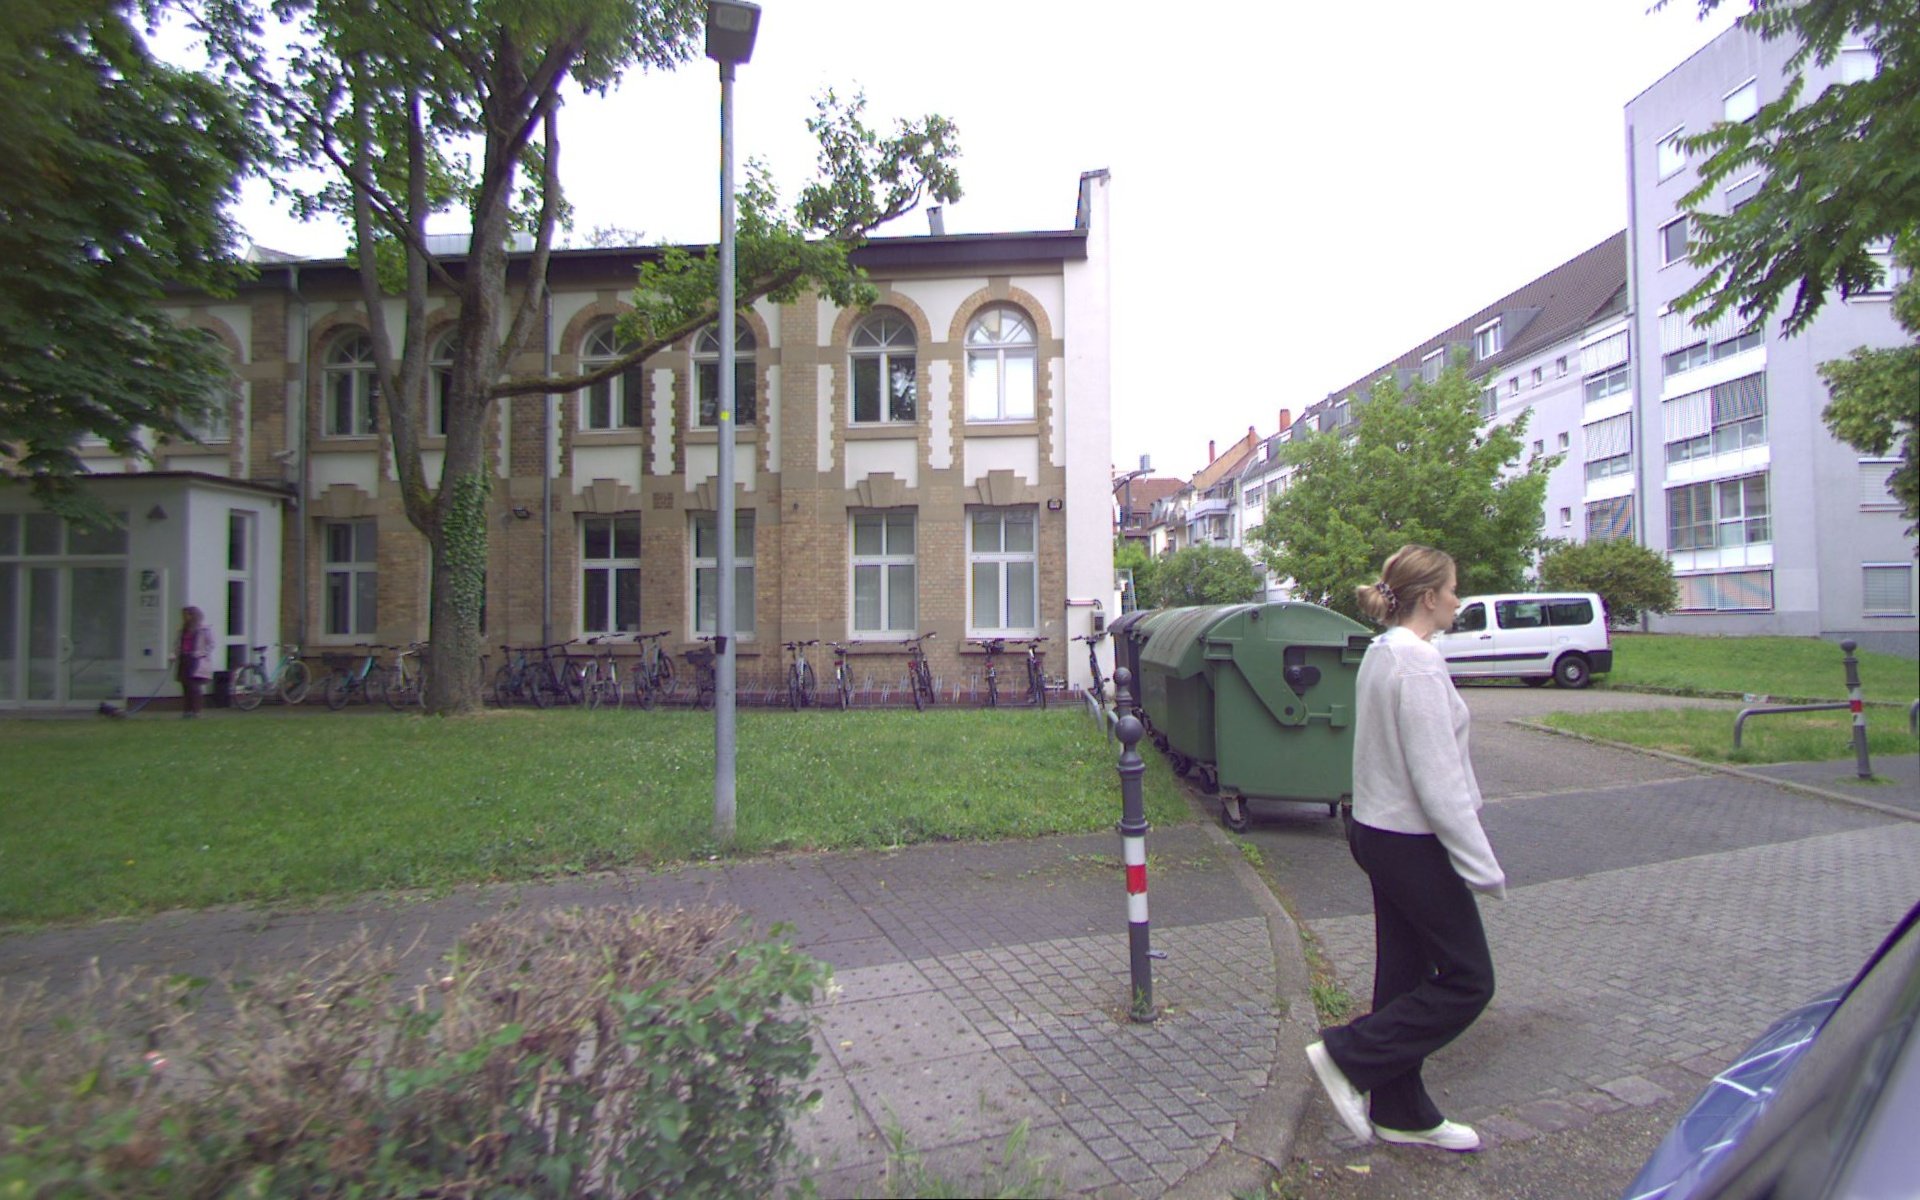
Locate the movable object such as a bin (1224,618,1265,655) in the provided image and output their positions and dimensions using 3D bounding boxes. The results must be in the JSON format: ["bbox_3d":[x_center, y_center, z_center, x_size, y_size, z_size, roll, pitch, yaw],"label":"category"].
[{"bbox_3d":[10.366,1.329,36.963,1.159,1.324,1.226,-1,-2,3],"label":"movable object such as a bin"}]

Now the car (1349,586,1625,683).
[{"bbox_3d":[10.936,0.756,21.322,4.690,1.898,1.897,-1,-4,6],"label":"car"}]

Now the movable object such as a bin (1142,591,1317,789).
[{"bbox_3d":[2.135,0.688,8.247,1.088,1.469,1.285,-1,-2,3],"label":"movable object such as a bin"}]

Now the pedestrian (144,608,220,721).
[{"bbox_3d":[-11.349,0.923,14.776,0.616,1.607,0.603,-1,-2,4],"label":"pedestrian"}]

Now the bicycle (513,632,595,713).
[{"bbox_3d":[-6.501,1.129,16.285,0.453,1.128,1.742,-1,1,6],"label":"bicycle"}]

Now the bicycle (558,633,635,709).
[{"bbox_3d":[-5.821,1.111,16.299,0.453,1.129,1.741,-1,-1,6],"label":"bicycle"}]

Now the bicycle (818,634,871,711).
[{"bbox_3d":[-1.808,1.117,16.038,0.453,1.129,1.741,-1,-1,6],"label":"bicycle"}]

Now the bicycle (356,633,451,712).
[{"bbox_3d":[-9.103,1.162,16.630,0.453,1.128,1.742,-1,1,6],"label":"bicycle"}]

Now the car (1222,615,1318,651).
[{"bbox_3d":[15.833,1.686,51.844,4.257,1.757,2.000,-1,-1,-1],"label":"car"}]

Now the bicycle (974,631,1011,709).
[{"bbox_3d":[0.530,1.077,16.008,0.453,1.129,1.741,-1,-1,6],"label":"bicycle"}]

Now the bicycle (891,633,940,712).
[{"bbox_3d":[-0.674,1.106,15.889,0.453,1.129,1.740,-1,-1,8],"label":"bicycle"}]

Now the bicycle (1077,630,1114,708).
[{"bbox_3d":[2.113,1.046,15.856,0.452,1.129,1.742,-1,-1,4],"label":"bicycle"}]

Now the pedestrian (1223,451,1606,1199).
[{"bbox_3d":[1.230,0.573,2.761,0.749,1.804,0.652,-2,-2,44],"label":"pedestrian"}]

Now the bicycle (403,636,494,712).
[{"bbox_3d":[-8.315,1.176,16.513,0.453,1.129,1.741,-1,-1,6],"label":"bicycle"}]

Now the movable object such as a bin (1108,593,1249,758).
[{"bbox_3d":[2.055,0.693,9.747,1.088,1.469,1.293,-1,-2,3],"label":"movable object such as a bin"}]

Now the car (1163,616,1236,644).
[{"bbox_3d":[15.799,1.974,66.939,4.257,1.757,2.000,-1,-1,-1],"label":"car"}]

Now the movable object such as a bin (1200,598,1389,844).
[{"bbox_3d":[2.159,0.726,6.742,1.056,1.452,1.270,-1,-1,14],"label":"movable object such as a bin"}]

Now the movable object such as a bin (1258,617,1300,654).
[{"bbox_3d":[11.613,1.295,36.906,1.159,1.324,1.226,-1,-2,3],"label":"movable object such as a bin"}]

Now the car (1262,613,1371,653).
[{"bbox_3d":[16.415,1.495,46.778,4.257,1.757,2.000,-1,-1,-1],"label":"car"}]

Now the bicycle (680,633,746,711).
[{"bbox_3d":[-3.923,1.122,16.167,0.453,1.129,1.741,-1,-1,6],"label":"bicycle"}]

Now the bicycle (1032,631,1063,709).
[{"bbox_3d":[1.390,1.066,15.920,0.453,1.129,1.741,-1,-1,6],"label":"bicycle"}]

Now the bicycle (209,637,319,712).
[{"bbox_3d":[-11.367,1.190,16.597,0.453,1.129,1.741,-1,-1,6],"label":"bicycle"}]

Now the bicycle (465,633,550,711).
[{"bbox_3d":[-7.317,1.142,16.442,0.453,1.129,1.742,-1,0,6],"label":"bicycle"}]

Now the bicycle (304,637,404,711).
[{"bbox_3d":[-9.975,1.187,16.726,0.453,1.129,1.741,-1,-1,6],"label":"bicycle"}]

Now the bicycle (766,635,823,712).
[{"bbox_3d":[-2.597,1.130,16.042,0.453,1.129,1.741,-1,-1,6],"label":"bicycle"}]

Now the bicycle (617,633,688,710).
[{"bbox_3d":[-4.920,1.119,16.269,0.453,1.129,1.741,-1,-1,6],"label":"bicycle"}]

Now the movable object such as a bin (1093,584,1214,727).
[{"bbox_3d":[2.094,0.593,11.162,1.088,1.469,1.325,-1,-2,3],"label":"movable object such as a bin"}]

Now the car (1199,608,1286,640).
[{"bbox_3d":[15.814,1.347,56.806,4.257,1.757,2.000,-1,-1,-1],"label":"car"}]

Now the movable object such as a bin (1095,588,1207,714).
[{"bbox_3d":[2.365,0.620,12.720,1.087,1.469,1.362,-1,-2,-1],"label":"movable object such as a bin"}]

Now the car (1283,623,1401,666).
[{"bbox_3d":[16.438,1.884,43.697,4.257,1.757,2.000,-1,-1,-1],"label":"car"}]
